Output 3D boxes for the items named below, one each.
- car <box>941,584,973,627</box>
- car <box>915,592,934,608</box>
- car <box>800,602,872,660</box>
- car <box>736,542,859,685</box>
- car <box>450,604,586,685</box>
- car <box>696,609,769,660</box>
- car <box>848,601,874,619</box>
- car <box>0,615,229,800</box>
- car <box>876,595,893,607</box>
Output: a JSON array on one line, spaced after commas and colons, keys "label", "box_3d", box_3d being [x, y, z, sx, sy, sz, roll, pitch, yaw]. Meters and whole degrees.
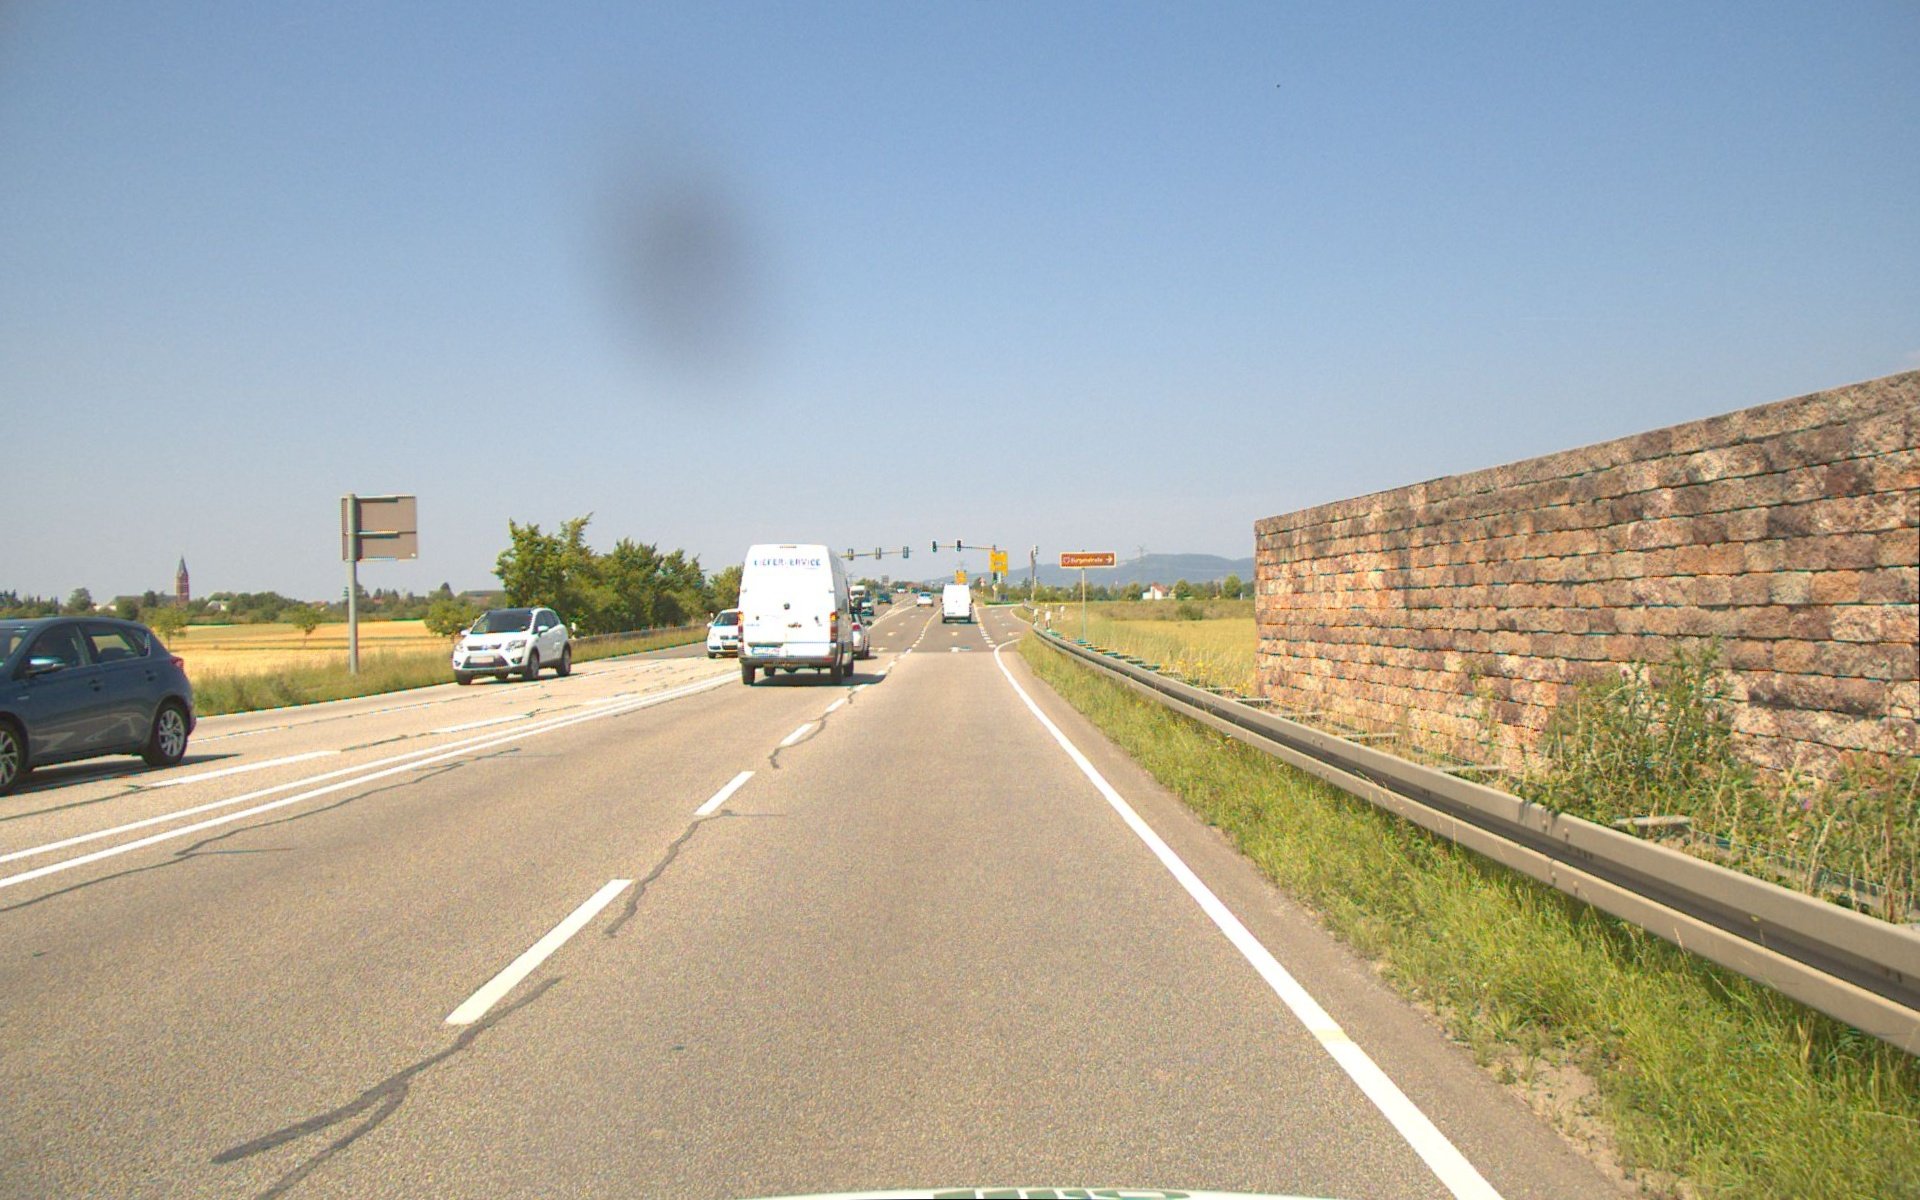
[{"label": "car", "box_3d": [-0.217, 0.346, 110.102, 1.953, 2.742, 4.969, -2, 0, 0]}, {"label": "car", "box_3d": [-3.934, 0.025, 183.213, 1.953, 1.733, 4.275, 0, -1, 0]}, {"label": "car", "box_3d": [-3.533, 0.855, 47.712, 1.763, 1.534, 4.195, -1, 0, 0]}, {"label": "car", "box_3d": [-3.203, 0.286, 33.653, 1.998, 2.666, 5.739, 0, -1, -1]}, {"label": "car", "box_3d": [-10.424, 1.010, 39.368, 1.630, 1.706, 4.465, -3, 0, 5]}, {"label": "car", "box_3d": [-7.109, 1.059, 52.064, 1.713, 1.467, 4.081, -2, 0, -1]}, {"label": "car", "box_3d": [-8.530, 0.853, 142.648, 1.819, 1.448, 4.000, -2, 0, 1]}, {"label": "car", "box_3d": [-8.477, 0.921, 14.781, 1.722, 1.483, 4.233, -3, -1, 4]}, {"label": "car", "box_3d": [-9.764, 0.175, 213.980, 1.819, 1.448, 4.000, 0, -1, 1]}]
